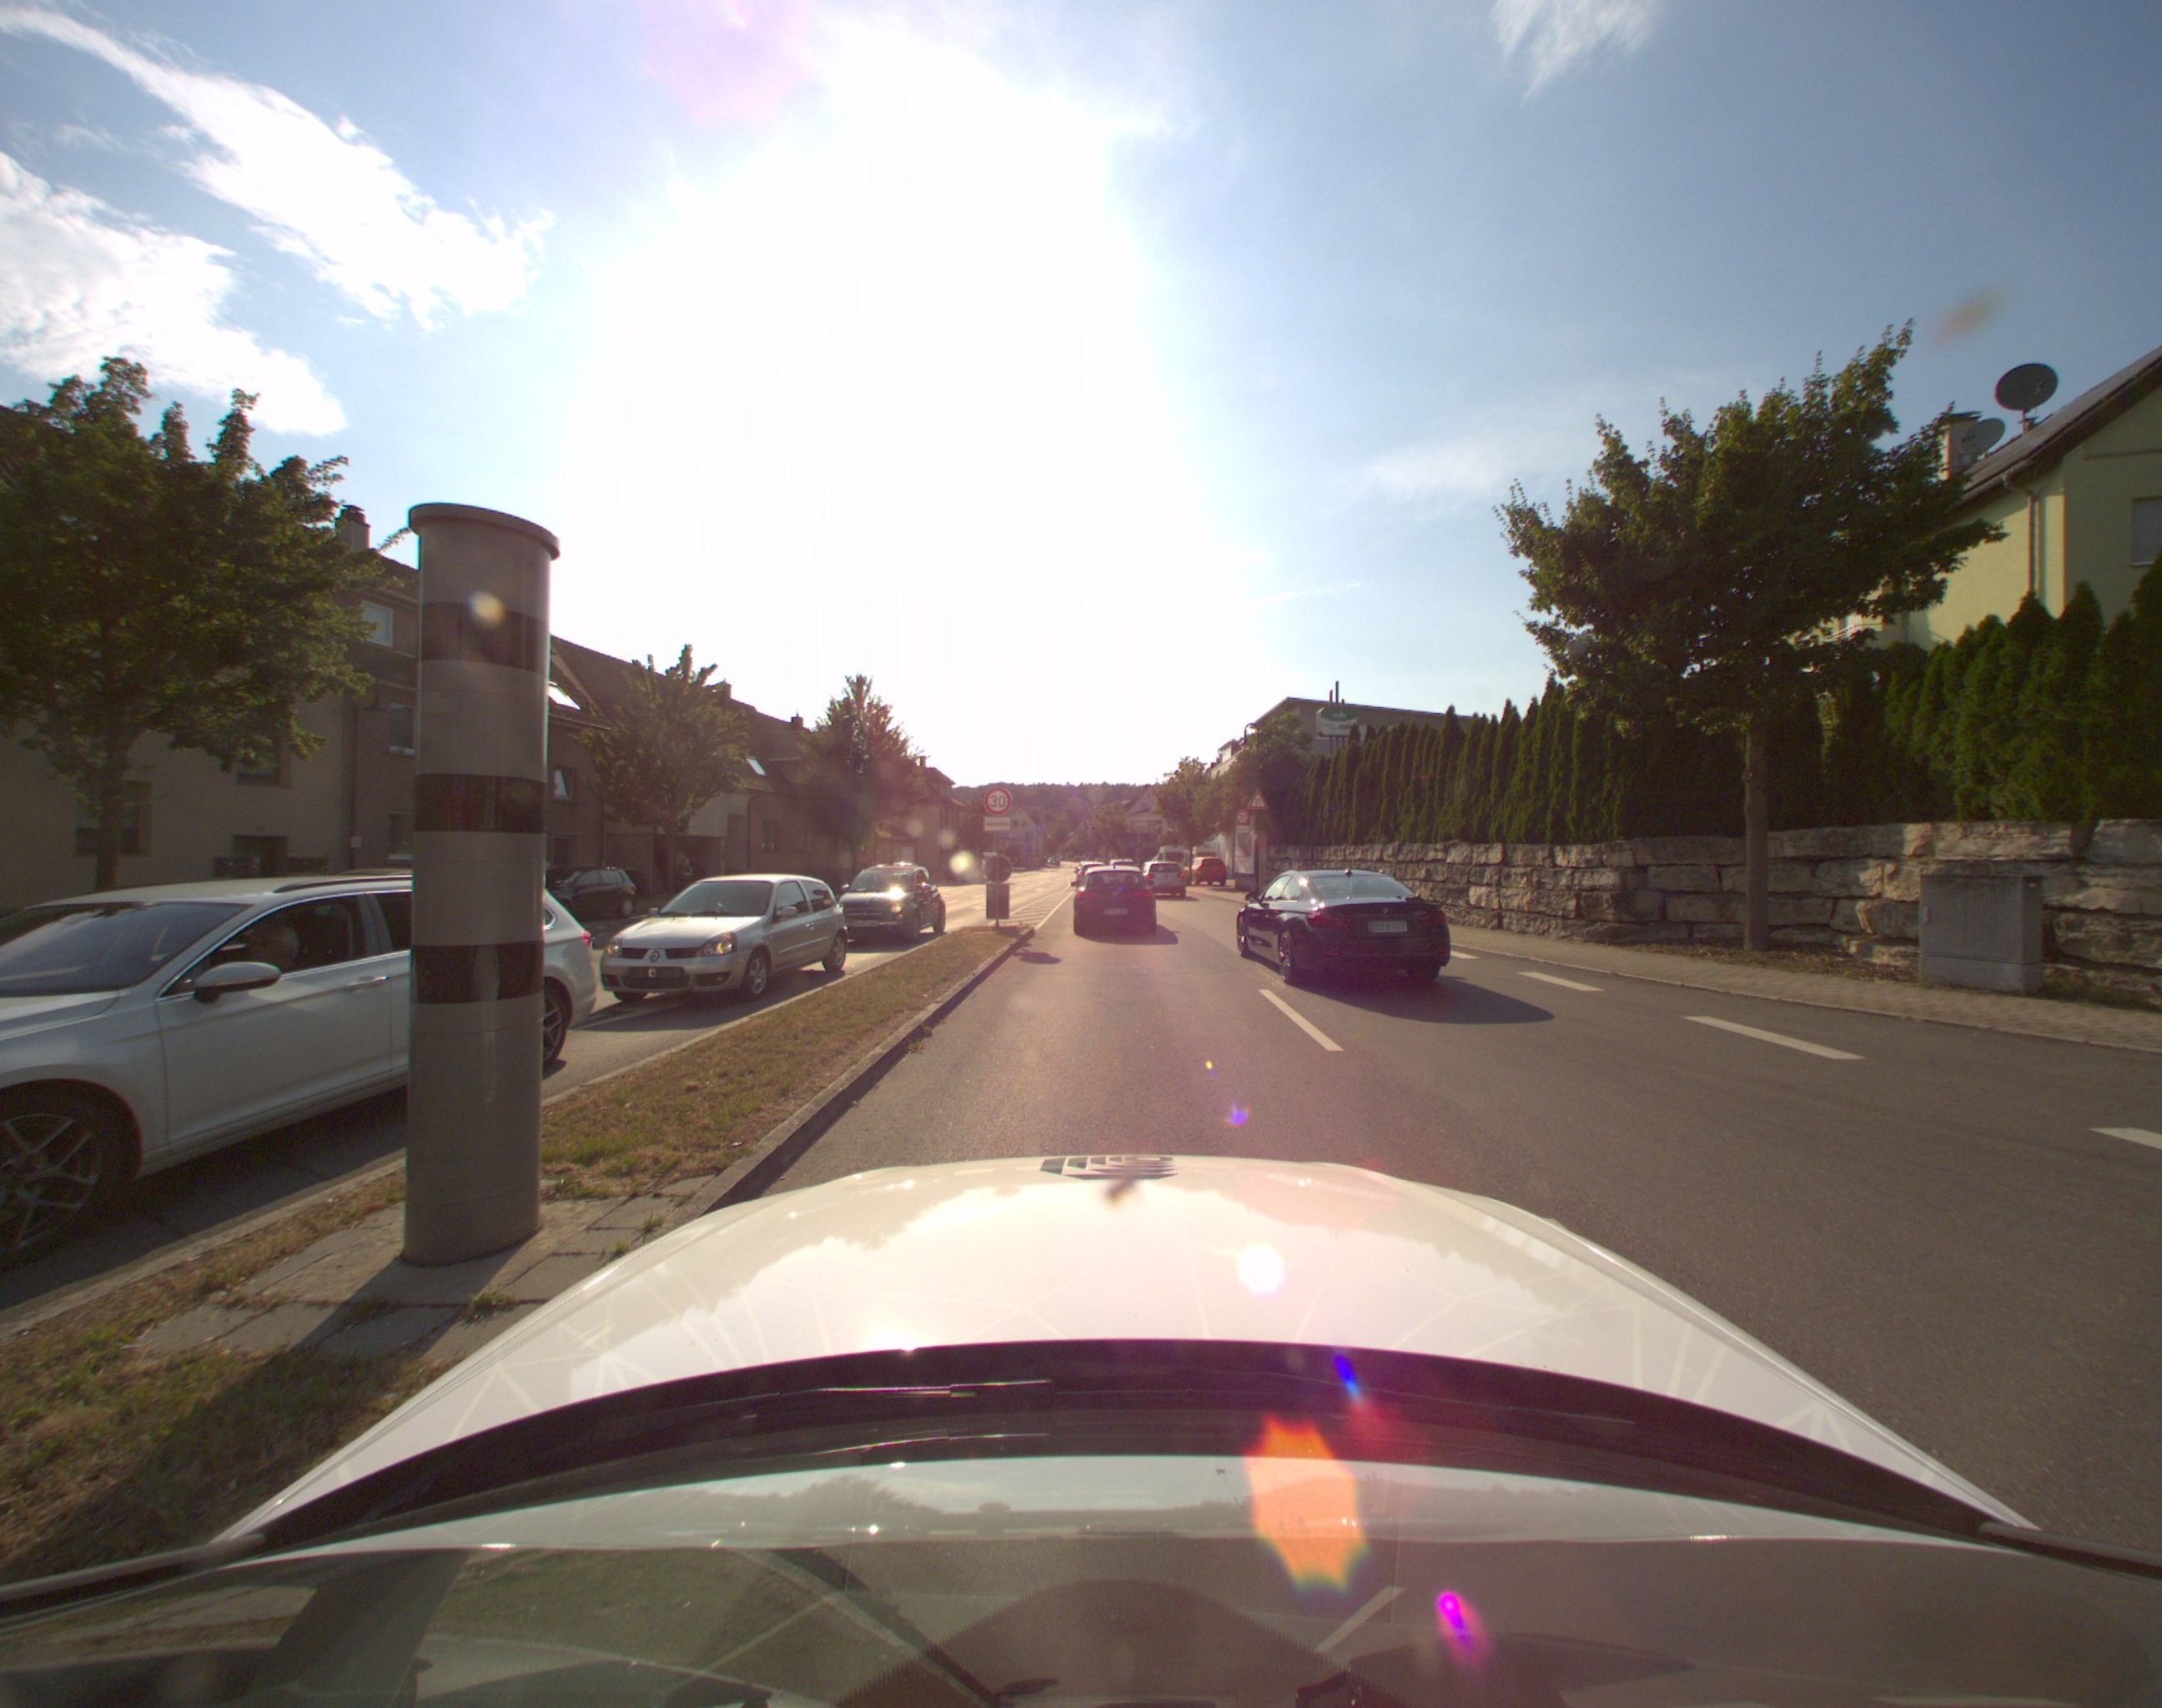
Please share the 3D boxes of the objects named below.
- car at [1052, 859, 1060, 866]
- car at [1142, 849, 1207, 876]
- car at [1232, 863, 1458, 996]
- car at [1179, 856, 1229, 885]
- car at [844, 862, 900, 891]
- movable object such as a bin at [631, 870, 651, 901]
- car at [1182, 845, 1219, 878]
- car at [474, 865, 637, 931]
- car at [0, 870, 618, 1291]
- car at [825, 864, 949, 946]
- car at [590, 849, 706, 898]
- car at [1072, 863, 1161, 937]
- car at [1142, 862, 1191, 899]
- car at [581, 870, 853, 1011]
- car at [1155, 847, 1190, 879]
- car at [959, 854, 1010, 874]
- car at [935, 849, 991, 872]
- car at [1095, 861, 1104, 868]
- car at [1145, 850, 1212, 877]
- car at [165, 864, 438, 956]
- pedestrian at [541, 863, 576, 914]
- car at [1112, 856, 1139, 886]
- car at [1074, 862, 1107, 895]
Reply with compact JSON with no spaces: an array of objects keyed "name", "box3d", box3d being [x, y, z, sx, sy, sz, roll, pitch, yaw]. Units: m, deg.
[{"name":"car","box3d":[-5.563,1.952,180.844,1.592,1.485,3.473,0,0,-1]},{"name":"car","box3d":[9.055,0.800,79.249,6.028,2.516,2.042,-1,0,-3]},{"name":"car","box3d":[3.290,0.849,11.060,1.694,1.369,4.262,-1,0,0]},{"name":"car","box3d":[7.379,0.986,49.314,1.833,1.649,4.526,0,-1,-7]},{"name":"car","box3d":[-11.749,1.244,46.042,1.657,1.487,4.007,2,0,7]},{"name":"movable object such as a bin","box3d":[-16.461,1.175,30.463,0.473,1.137,0.501,-1,0,2]},{"name":"car","box3d":[10.411,0.664,71.521,2.105,2.722,6.439,-1,0,-1]},{"name":"car","box3d":[-13.747,1.086,21.628,1.613,1.510,4.133,-1,0,0]},{"name":"car","box3d":[-4.877,0.886,4.567,1.828,1.488,4.568,-1,0,2]},{"name":"car","box3d":[-3.845,0.964,16.725,1.526,1.462,3.509,-1,0,3]},{"name":"car","box3d":[-17.885,0.784,33.723,3.804,1.881,1.781,1,-1,3]},{"name":"car","box3d":[0.770,0.962,18.313,1.765,1.456,3.516,-1,-1,1]},{"name":"car","box3d":[3.481,1.063,33.680,1.747,1.414,3.423,-1,0,1]},{"name":"car","box3d":[-4.278,0.935,10.224,1.582,1.427,3.582,-1,-1,4]},{"name":"car","box3d":[7.924,0.772,71.160,2.143,2.680,6.599,-1,0,-1]},{"name":"car","box3d":[-12.139,1.194,102.387,6.138,2.445,2.249,0,0,0]},{"name":"car","box3d":[-13.435,0.714,92.850,5.893,2.479,2.197,0,2,4]},{"name":"car","box3d":[3.839,2.113,168.069,1.592,1.485,3.473,0,0,-1]},{"name":"car","box3d":[9.109,0.871,76.330,6.028,2.363,2.042,-1,0,-3]},{"name":"car","box3d":[-14.941,0.977,15.944,1.506,1.510,3.886,1,0,1]},{"name":"pedestrian","box3d":[-17.298,1.127,26.961,0.713,1.606,0.783,3,3,37]},{"name":"car","box3d":[2.722,1.038,50.054,1.596,1.767,3.413,-1,0,2]},{"name":"car","box3d":[0.435,1.213,41.679,1.587,1.600,3.892,-1,0,-1]}]
